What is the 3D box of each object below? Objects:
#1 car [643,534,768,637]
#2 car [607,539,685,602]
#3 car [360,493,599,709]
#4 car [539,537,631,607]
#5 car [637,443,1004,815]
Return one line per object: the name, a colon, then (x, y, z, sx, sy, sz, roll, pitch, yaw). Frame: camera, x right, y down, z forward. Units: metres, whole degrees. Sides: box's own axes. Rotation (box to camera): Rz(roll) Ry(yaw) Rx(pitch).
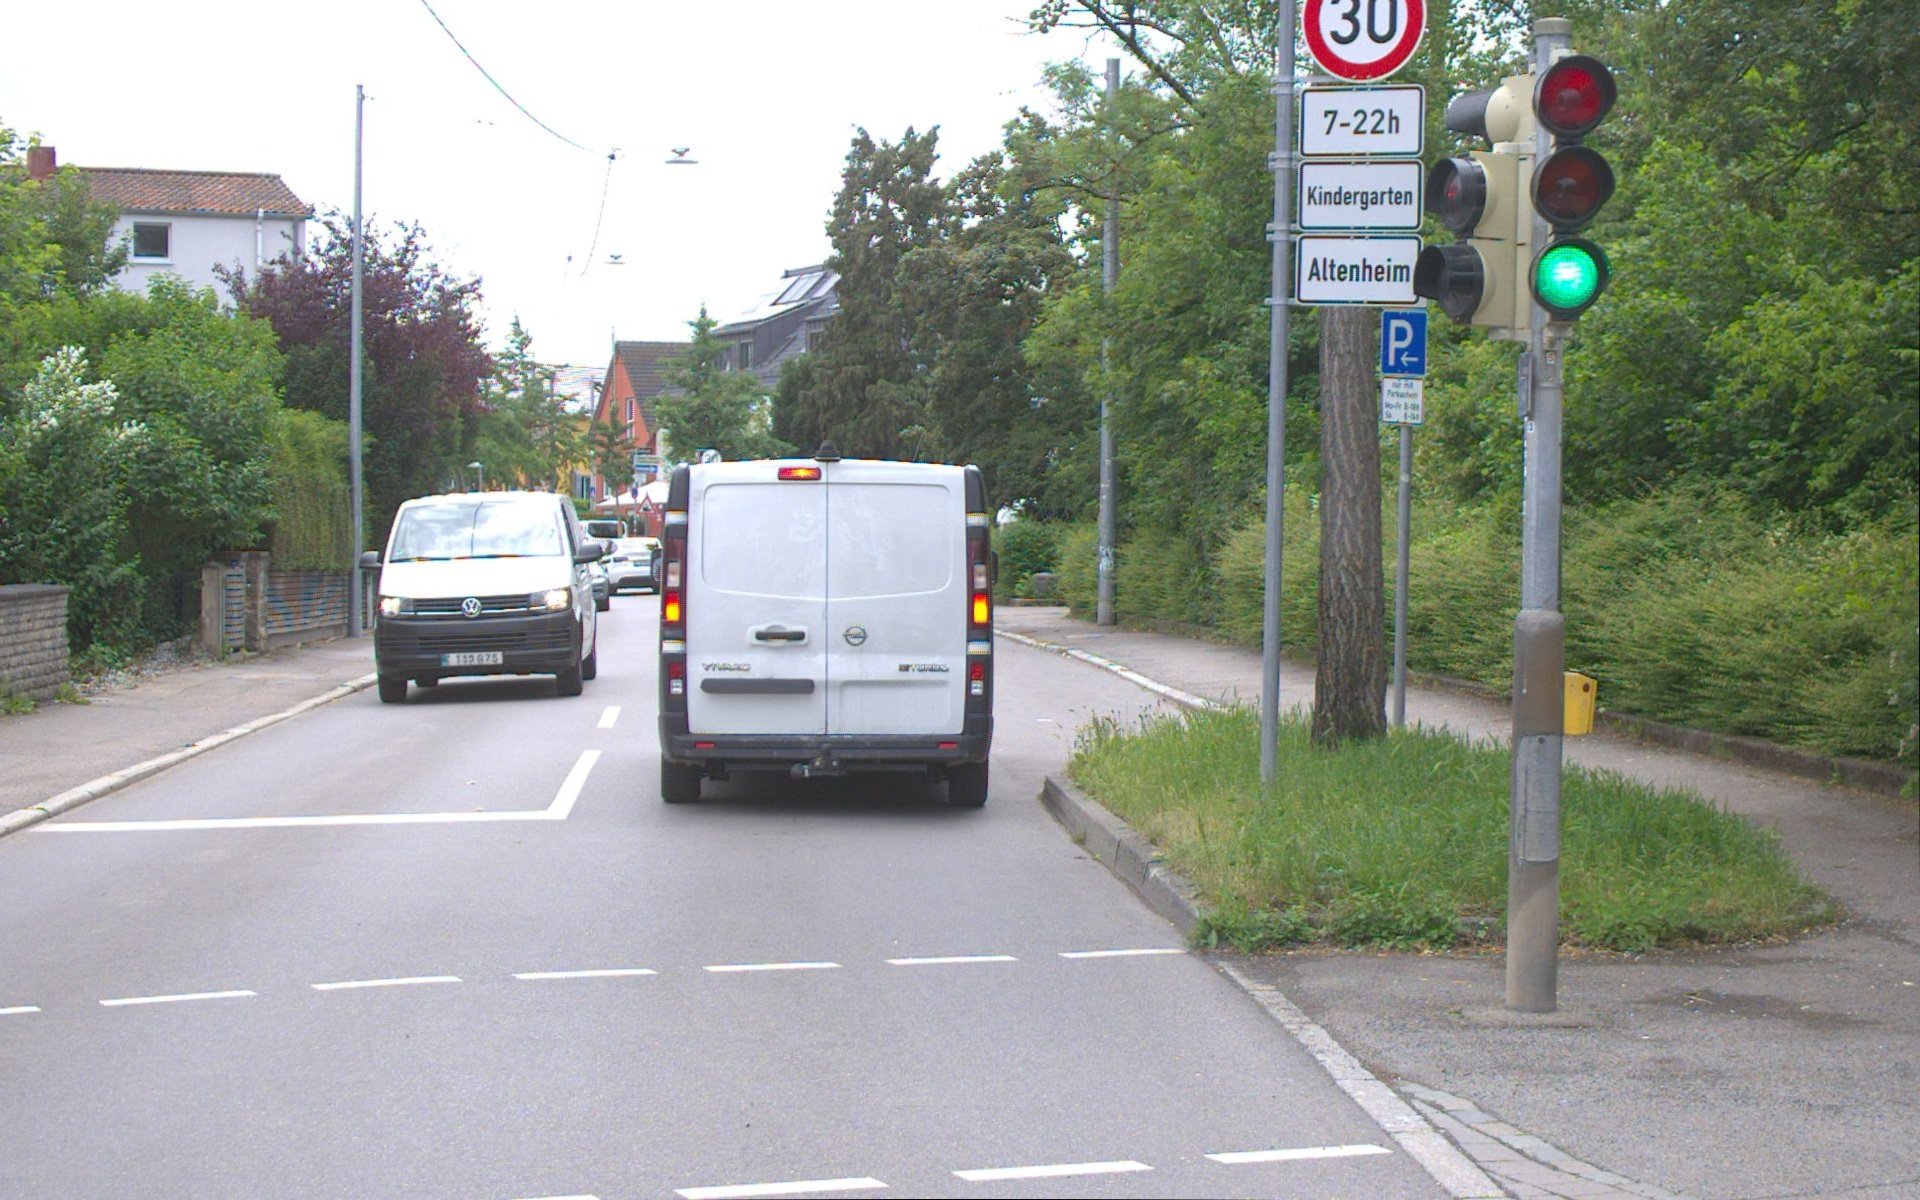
car: (-4.774, -0.282, 65.045, 1.897, 1.853, 4.404, 1, 0, 1)
car: (-9.040, -0.861, 98.731, 1.824, 1.722, 4.001, 1, 0, -11)
car: (-4.605, -0.053, 33.626, 1.867, 1.904, 5.116, -2, 1, -3)
car: (-8.444, -0.644, 77.197, 1.883, 1.507, 4.114, -1, 1, -8)
car: (-0.927, 0.138, 20.660, 1.929, 1.957, 4.402, 1, 0, -5)
